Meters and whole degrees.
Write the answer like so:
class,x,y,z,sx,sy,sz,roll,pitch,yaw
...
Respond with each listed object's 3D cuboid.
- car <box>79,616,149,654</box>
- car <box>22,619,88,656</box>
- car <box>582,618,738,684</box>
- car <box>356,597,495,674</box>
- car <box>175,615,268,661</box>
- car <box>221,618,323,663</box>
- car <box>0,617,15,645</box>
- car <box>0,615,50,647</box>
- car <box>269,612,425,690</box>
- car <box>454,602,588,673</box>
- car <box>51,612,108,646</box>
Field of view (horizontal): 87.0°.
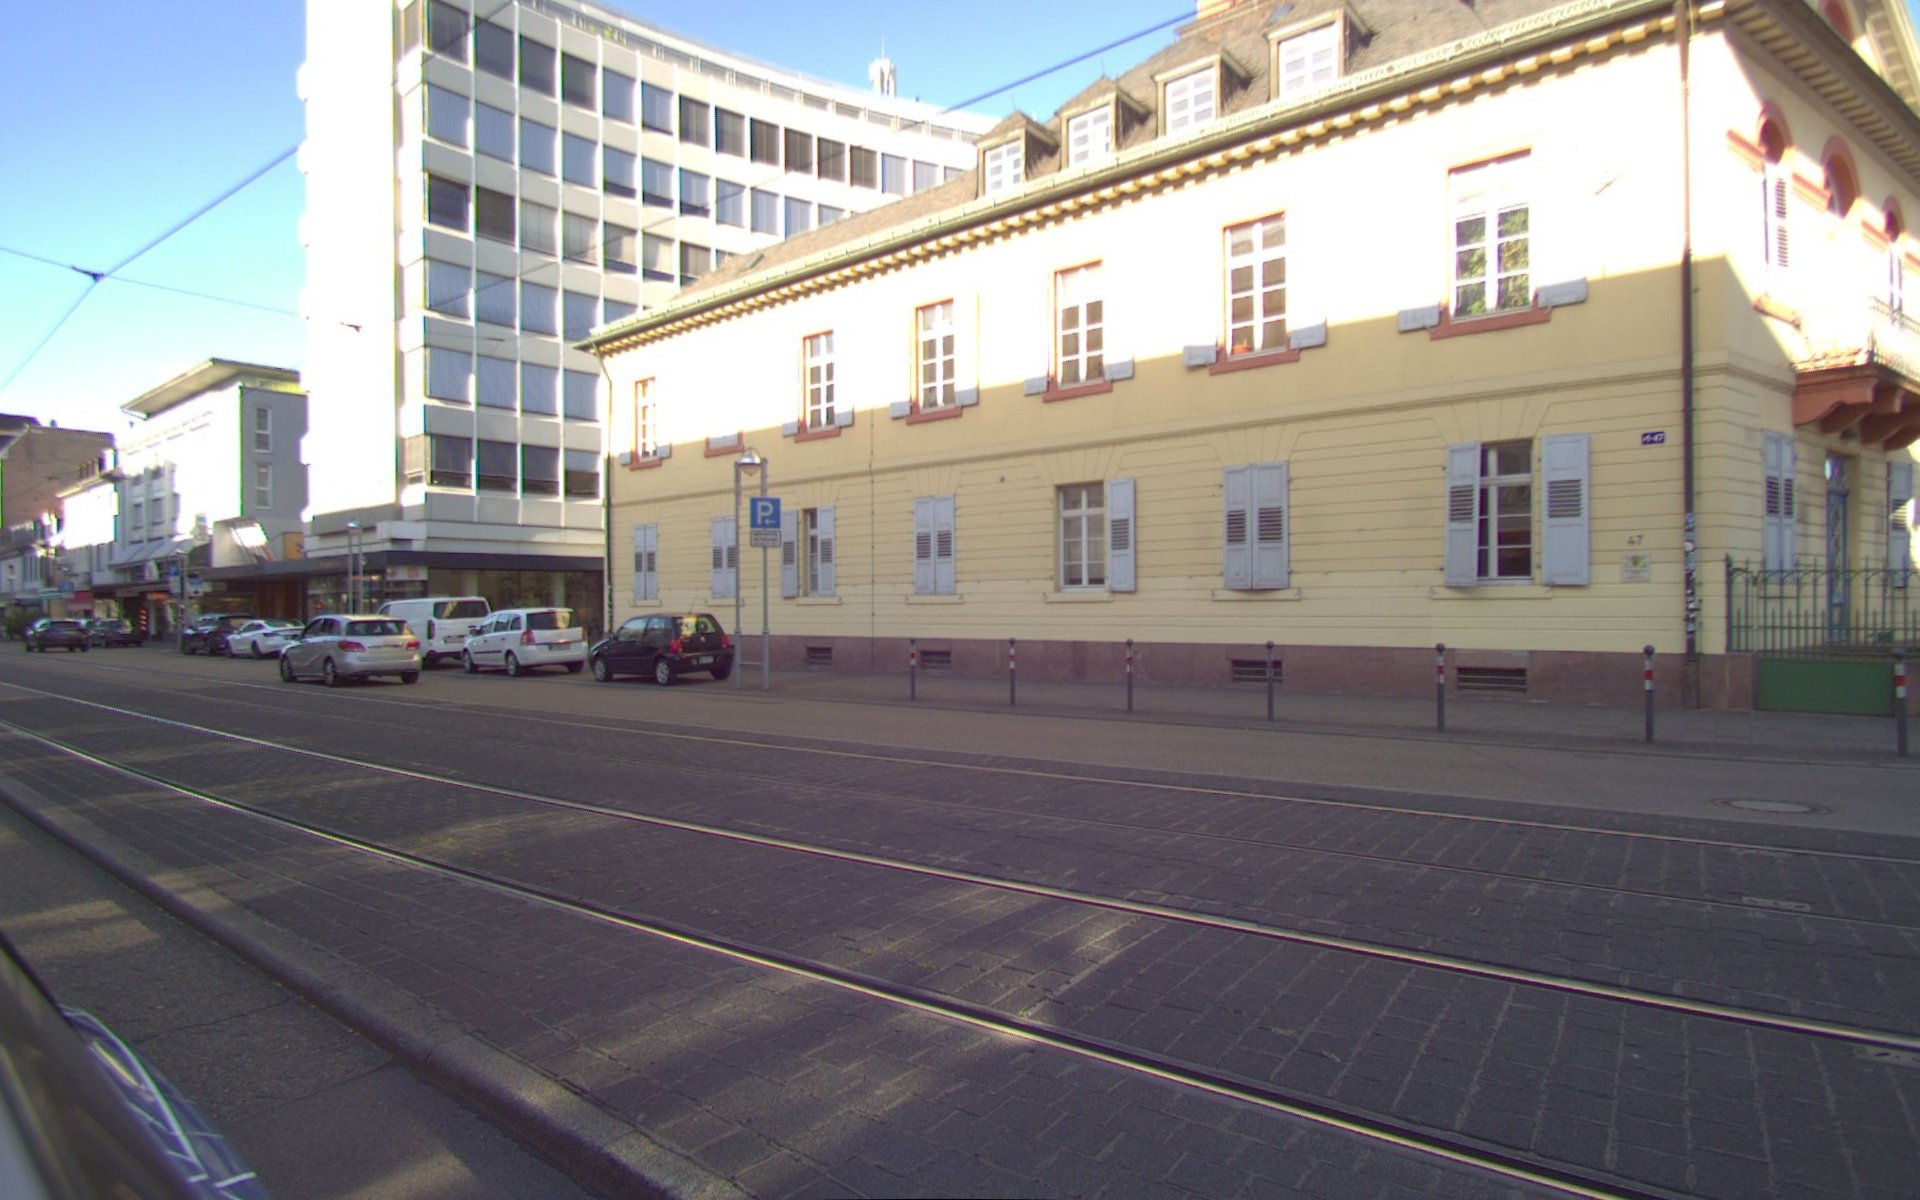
class,x,y,z,sx,sy,sz,roll,pitch,yaw
car,-43.676,1.768,52.231,3.995,1.874,1.974,-1,0,38
car,-40.956,1.645,45.765,4.001,1.519,1.937,-1,0,44
car,-6.401,1.028,21.495,3.210,1.263,1.667,-1,0,39
car,-15.350,0.975,28.939,4.619,2.029,2.014,-1,-1,41
car,-29.906,1.498,40.954,4.103,1.717,1.975,-1,0,38
car,-25.609,1.451,37.632,4.369,1.541,1.974,-1,0,39
car,-71.130,2.273,74.453,3.998,2.029,1.973,-1,-1,41
car,-62.921,2.091,67.893,3.996,2.058,2.172,-1,-1,39
car,-13.879,1.107,22.846,3.994,1.609,1.739,-1,-1,38
car,-11.054,0.896,25.366,4.005,1.621,1.619,-1,0,43
car,-50.259,1.657,57.746,3.995,1.896,1.768,-1,-1,38
